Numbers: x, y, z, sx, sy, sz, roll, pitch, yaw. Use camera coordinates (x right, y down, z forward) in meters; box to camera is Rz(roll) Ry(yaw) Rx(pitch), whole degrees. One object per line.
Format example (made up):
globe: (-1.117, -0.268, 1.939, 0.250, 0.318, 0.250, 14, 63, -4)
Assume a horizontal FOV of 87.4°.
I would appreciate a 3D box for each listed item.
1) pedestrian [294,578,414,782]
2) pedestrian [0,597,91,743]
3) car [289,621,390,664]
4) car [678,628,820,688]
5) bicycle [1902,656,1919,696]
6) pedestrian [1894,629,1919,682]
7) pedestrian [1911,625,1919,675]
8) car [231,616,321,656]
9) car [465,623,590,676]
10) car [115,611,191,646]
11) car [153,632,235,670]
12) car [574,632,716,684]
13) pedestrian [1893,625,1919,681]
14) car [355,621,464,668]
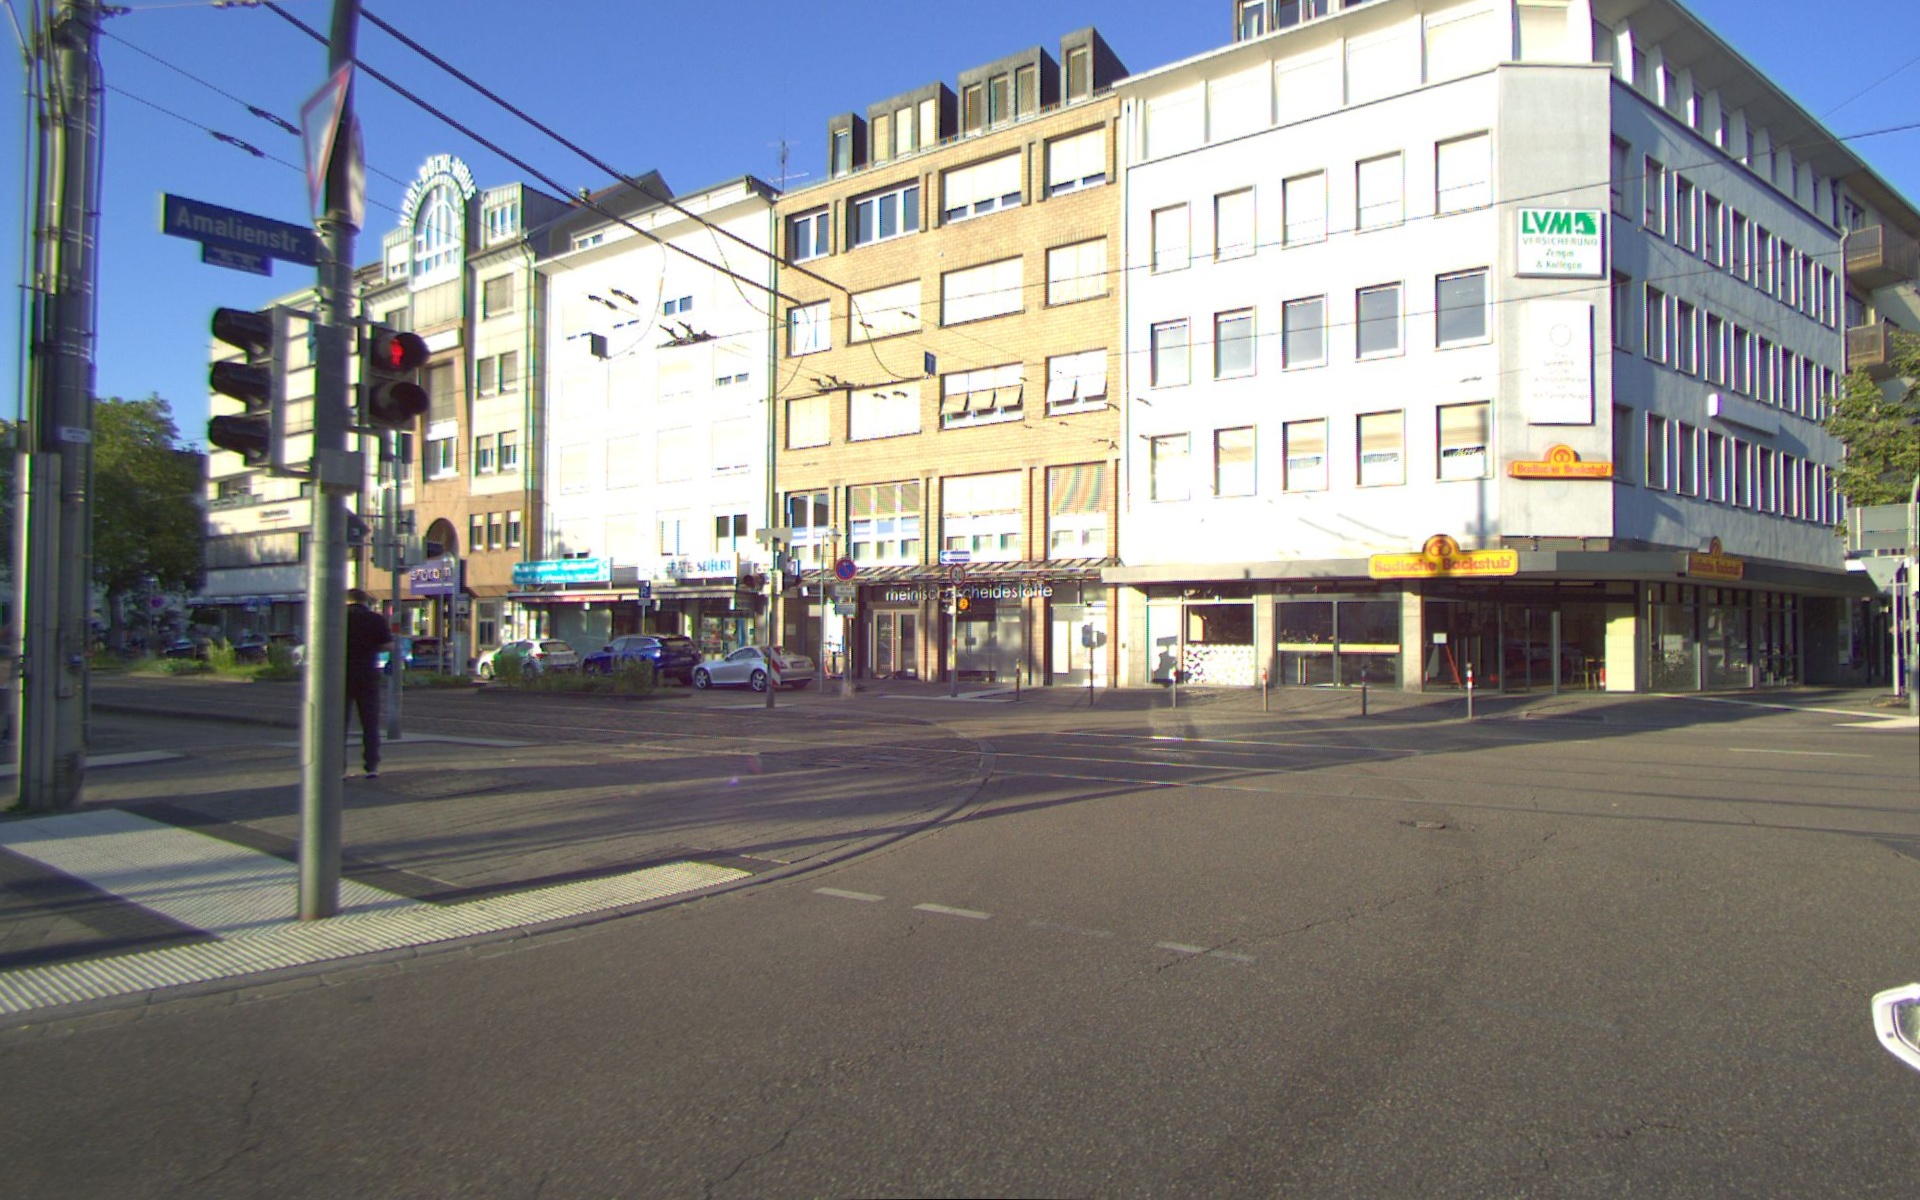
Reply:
pedestrian: (-5.754, 0.725, 9.538, 0.872, 1.808, 0.898, 2, -1, -33)
pedestrian: (-11.379, 0.829, 12.234, 0.764, 1.698, 0.907, 1, -1, 22)
car: (-26.336, 1.753, 42.587, 4.534, 1.759, 2.042, -1, -1, 36)
car: (-6.250, 1.651, 29.560, 4.233, 1.596, 1.793, -1, -1, 37)
bicycle: (25.417, 1.979, 25.610, 0.487, 1.005, 1.994, 2, -1, -37)
pedestrian: (33.558, 1.929, 35.390, 0.804, 1.843, 0.737, 1, -2, -32)
pedestrian: (33.343, 1.724, 34.457, 0.728, 1.698, 0.771, 1, -1, 9)
car: (-31.971, 1.642, 46.905, 4.534, 1.759, 2.042, -1, -1, 36)
car: (-15.396, 1.718, 35.702, 4.534, 1.759, 2.042, -1, -1, 36)
car: (-42.956, 1.488, 53.443, 4.534, 1.759, 2.042, -1, -1, 36)
car: (-38.319, 2.501, 50.205, 4.534, 1.759, 2.042, -1, -1, 36)
car: (-10.087, 1.786, 32.061, 4.535, 1.495, 2.042, -1, -1, 36)
pedestrian: (32.364, 1.774, 34.099, 0.732, 1.872, 0.766, 0, -1, -24)
car: (-21.900, 1.709, 39.893, 4.534, 1.759, 2.042, -1, -1, 36)
